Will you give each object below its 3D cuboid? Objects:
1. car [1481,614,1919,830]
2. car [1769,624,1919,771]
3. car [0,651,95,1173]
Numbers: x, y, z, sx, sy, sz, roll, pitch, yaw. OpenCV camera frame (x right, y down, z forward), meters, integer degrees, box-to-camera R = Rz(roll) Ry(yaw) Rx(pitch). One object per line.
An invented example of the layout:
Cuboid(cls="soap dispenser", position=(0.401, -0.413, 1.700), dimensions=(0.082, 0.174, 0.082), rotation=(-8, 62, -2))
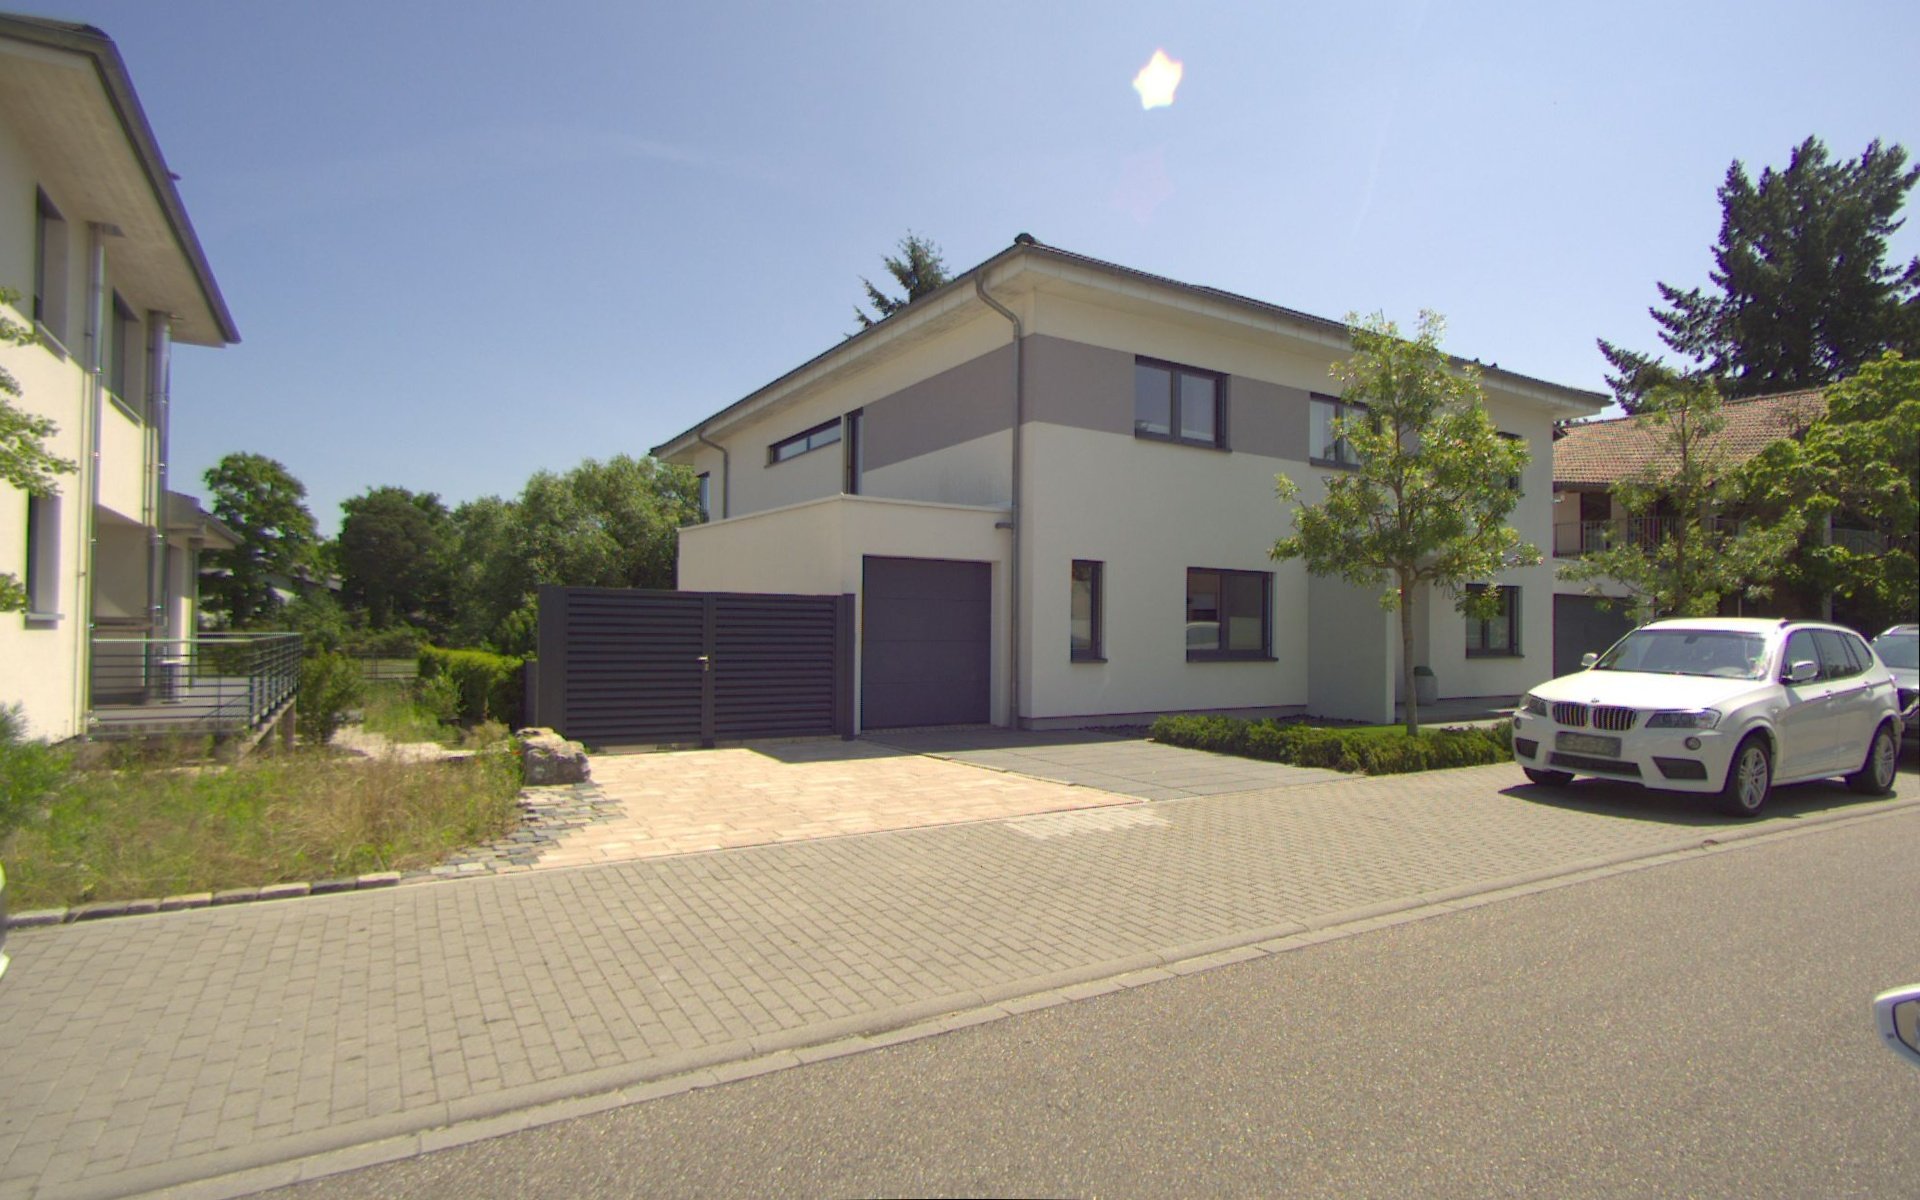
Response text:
Cuboid(cls="car", position=(7.385, 1.028, 9.922), dimensions=(4.446, 1.709, 1.918), rotation=(1, -2, -31))
Cuboid(cls="car", position=(12.662, 1.172, 13.066), dimensions=(4.165, 1.702, 1.984), rotation=(1, -2, -31))
Cuboid(cls="car", position=(-4.732, 0.907, 1.937), dimensions=(4.334, 1.507, 1.843), rotation=(1, -1, -31))
